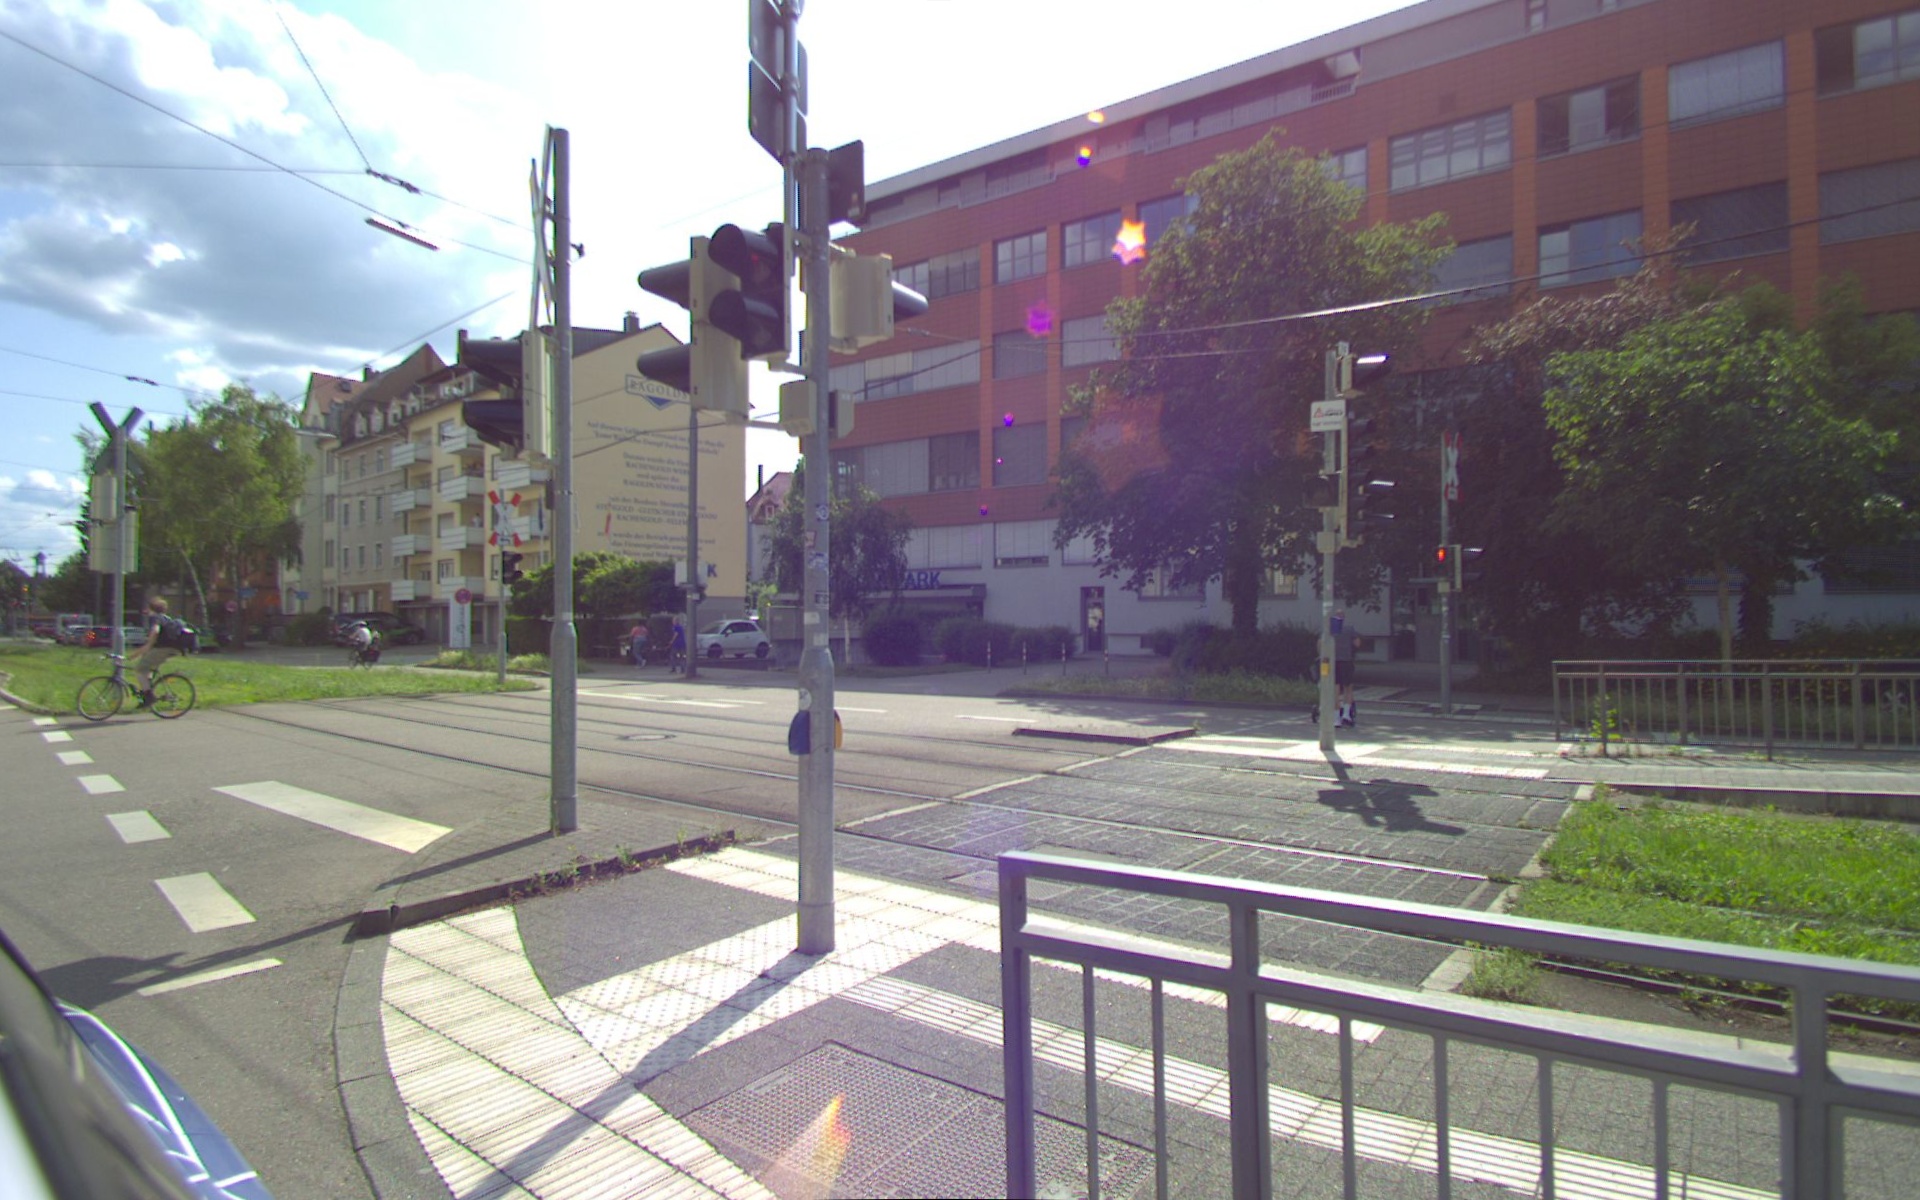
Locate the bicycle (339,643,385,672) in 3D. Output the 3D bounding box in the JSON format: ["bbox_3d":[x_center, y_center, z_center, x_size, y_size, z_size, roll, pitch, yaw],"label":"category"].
[{"bbox_3d":[-21.006,2.006,35.528,2.176,0.978,0.674,-2,-3,40],"label":"bicycle"}]

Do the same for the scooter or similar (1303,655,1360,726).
[{"bbox_3d":[5.864,1.410,15.956,0.792,1.073,0.949,-1,-3,24],"label":"scooter or similar"}]

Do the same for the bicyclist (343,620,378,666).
[{"bbox_3d":[-21.038,1.497,35.505,0.863,1.594,0.777,-2,-3,39],"label":"bicyclist"}]

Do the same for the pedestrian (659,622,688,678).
[{"bbox_3d":[-8.762,1.511,30.925,0.747,1.669,0.550,-1,-2,44],"label":"pedestrian"}]

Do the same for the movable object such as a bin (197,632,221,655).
[{"bbox_3d":[-47.913,2.755,64.564,1.521,1.440,0.941,-2,0,41],"label":"movable object such as a bin"}]

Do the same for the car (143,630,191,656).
[{"bbox_3d":[-48.704,2.634,62.137,4.225,1.489,1.627,-2,-4,42],"label":"car"}]

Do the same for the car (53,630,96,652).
[{"bbox_3d":[-60.418,2.789,69.000,4.512,1.366,1.735,-1,-4,43],"label":"car"}]

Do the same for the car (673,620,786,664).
[{"bbox_3d":[-8.945,1.597,39.484,1.998,1.608,3.948,-1,-2,38],"label":"car"}]

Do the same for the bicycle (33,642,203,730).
[{"bbox_3d":[-13.003,1.287,15.671,1.154,1.186,1.768,-1,0,32],"label":"bicycle"}]

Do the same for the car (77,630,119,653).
[{"bbox_3d":[-54.748,2.641,64.251,3.692,1.397,1.562,-2,-3,42],"label":"car"}]

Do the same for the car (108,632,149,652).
[{"bbox_3d":[-58.435,2.909,71.108,3.995,1.366,1.736,-2,-3,43],"label":"car"}]

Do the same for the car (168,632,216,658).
[{"bbox_3d":[-44.622,2.586,58.785,3.614,1.443,1.577,-2,-3,43],"label":"car"}]

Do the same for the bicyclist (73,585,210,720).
[{"bbox_3d":[-12.892,0.817,16.013,1.549,2.029,0.953,2,-3,-34],"label":"bicyclist"}]

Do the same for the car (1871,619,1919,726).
[{"bbox_3d":[15.764,1.089,14.372,1.700,1.653,4.136,0,-2,-4],"label":"car"}]

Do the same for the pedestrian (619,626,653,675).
[{"bbox_3d":[-10.839,1.674,33.875,0.889,1.586,0.737,-2,-2,44],"label":"pedestrian"}]

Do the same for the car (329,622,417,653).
[{"bbox_3d":[-33.612,2.120,57.987,1.972,1.614,3.945,-2,0,41],"label":"car"}]

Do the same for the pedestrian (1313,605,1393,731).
[{"bbox_3d":[5.874,1.000,15.114,0.999,1.789,0.865,-1,-4,30],"label":"pedestrian"}]

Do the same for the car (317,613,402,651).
[{"bbox_3d":[-35.525,1.872,59.927,1.938,2.029,3.942,-2,0,45],"label":"car"}]

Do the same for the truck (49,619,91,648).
[{"bbox_3d":[-71.179,2.690,80.920,2.159,2.231,6.617,3,-3,-44],"label":"truck"}]

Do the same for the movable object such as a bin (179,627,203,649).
[{"bbox_3d":[-52.550,2.612,69.167,1.521,1.377,0.941,-2,3,41],"label":"movable object such as a bin"}]
